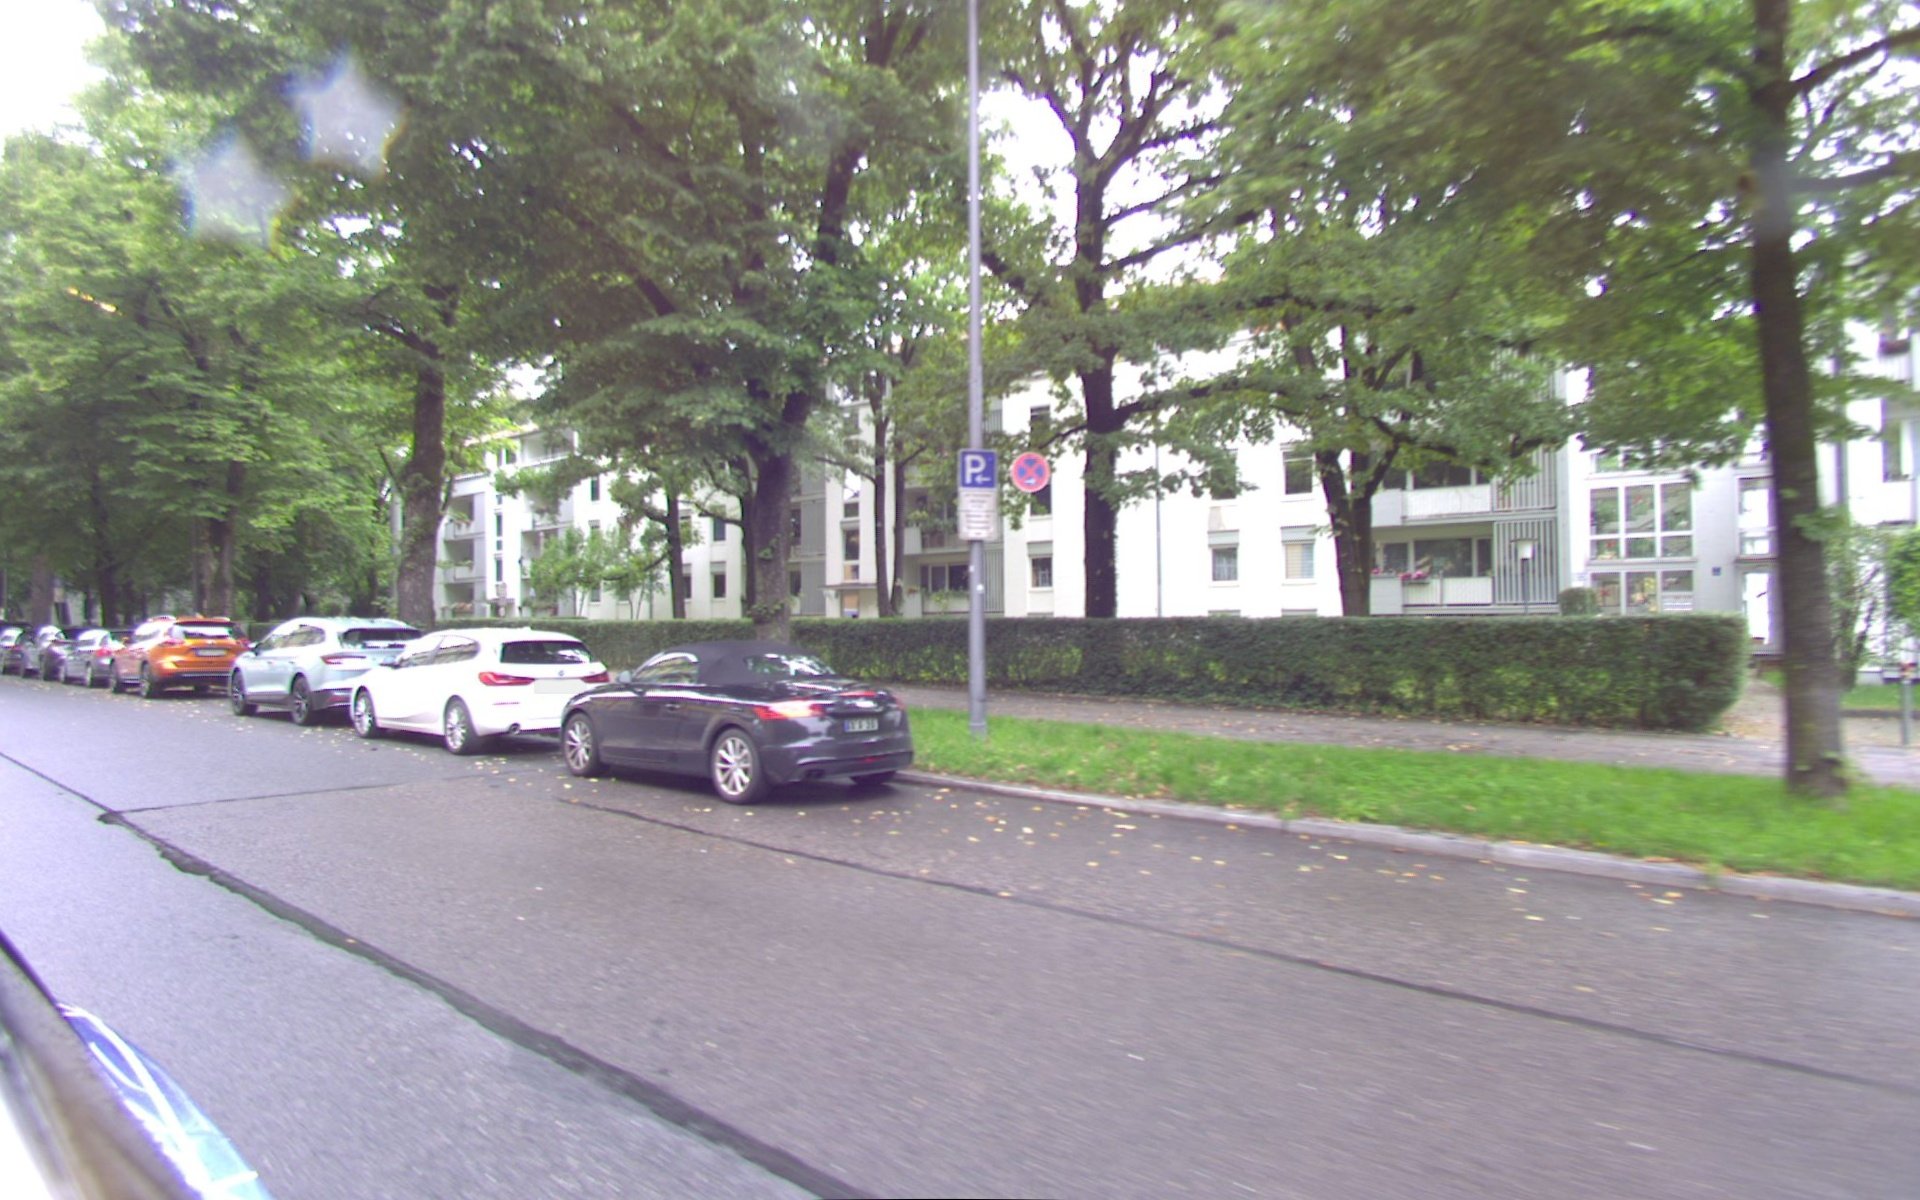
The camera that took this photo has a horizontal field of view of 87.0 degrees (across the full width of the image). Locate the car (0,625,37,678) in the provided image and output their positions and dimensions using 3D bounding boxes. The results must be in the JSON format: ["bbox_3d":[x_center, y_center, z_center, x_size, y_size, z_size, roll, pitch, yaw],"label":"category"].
[{"bbox_3d":[-34.647,1.806,35.977,4.915,1.811,1.974,-1,-3,39],"label":"car"}]

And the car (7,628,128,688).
[{"bbox_3d":[-25.832,1.648,29.260,4.479,1.586,1.769,-2,-4,38],"label":"car"}]

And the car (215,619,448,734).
[{"bbox_3d":[-10.276,1.134,16.419,4.507,1.613,1.797,-1,-2,38],"label":"car"}]

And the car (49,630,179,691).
[{"bbox_3d":[-21.903,1.520,26.163,4.245,1.433,1.711,-2,-2,38],"label":"car"}]

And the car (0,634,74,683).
[{"bbox_3d":[-30.338,1.843,32.784,4.690,1.462,1.701,-1,-2,39],"label":"car"}]

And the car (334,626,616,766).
[{"bbox_3d":[-6.279,1.090,12.904,4.194,1.508,1.562,-1,-2,38],"label":"car"}]

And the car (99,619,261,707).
[{"bbox_3d":[-17.289,1.313,22.362,4.636,1.741,1.854,-1,-2,40],"label":"car"}]

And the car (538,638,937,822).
[{"bbox_3d":[-2.244,1.054,9.587,4.041,1.353,1.561,-1,-2,40],"label":"car"}]
